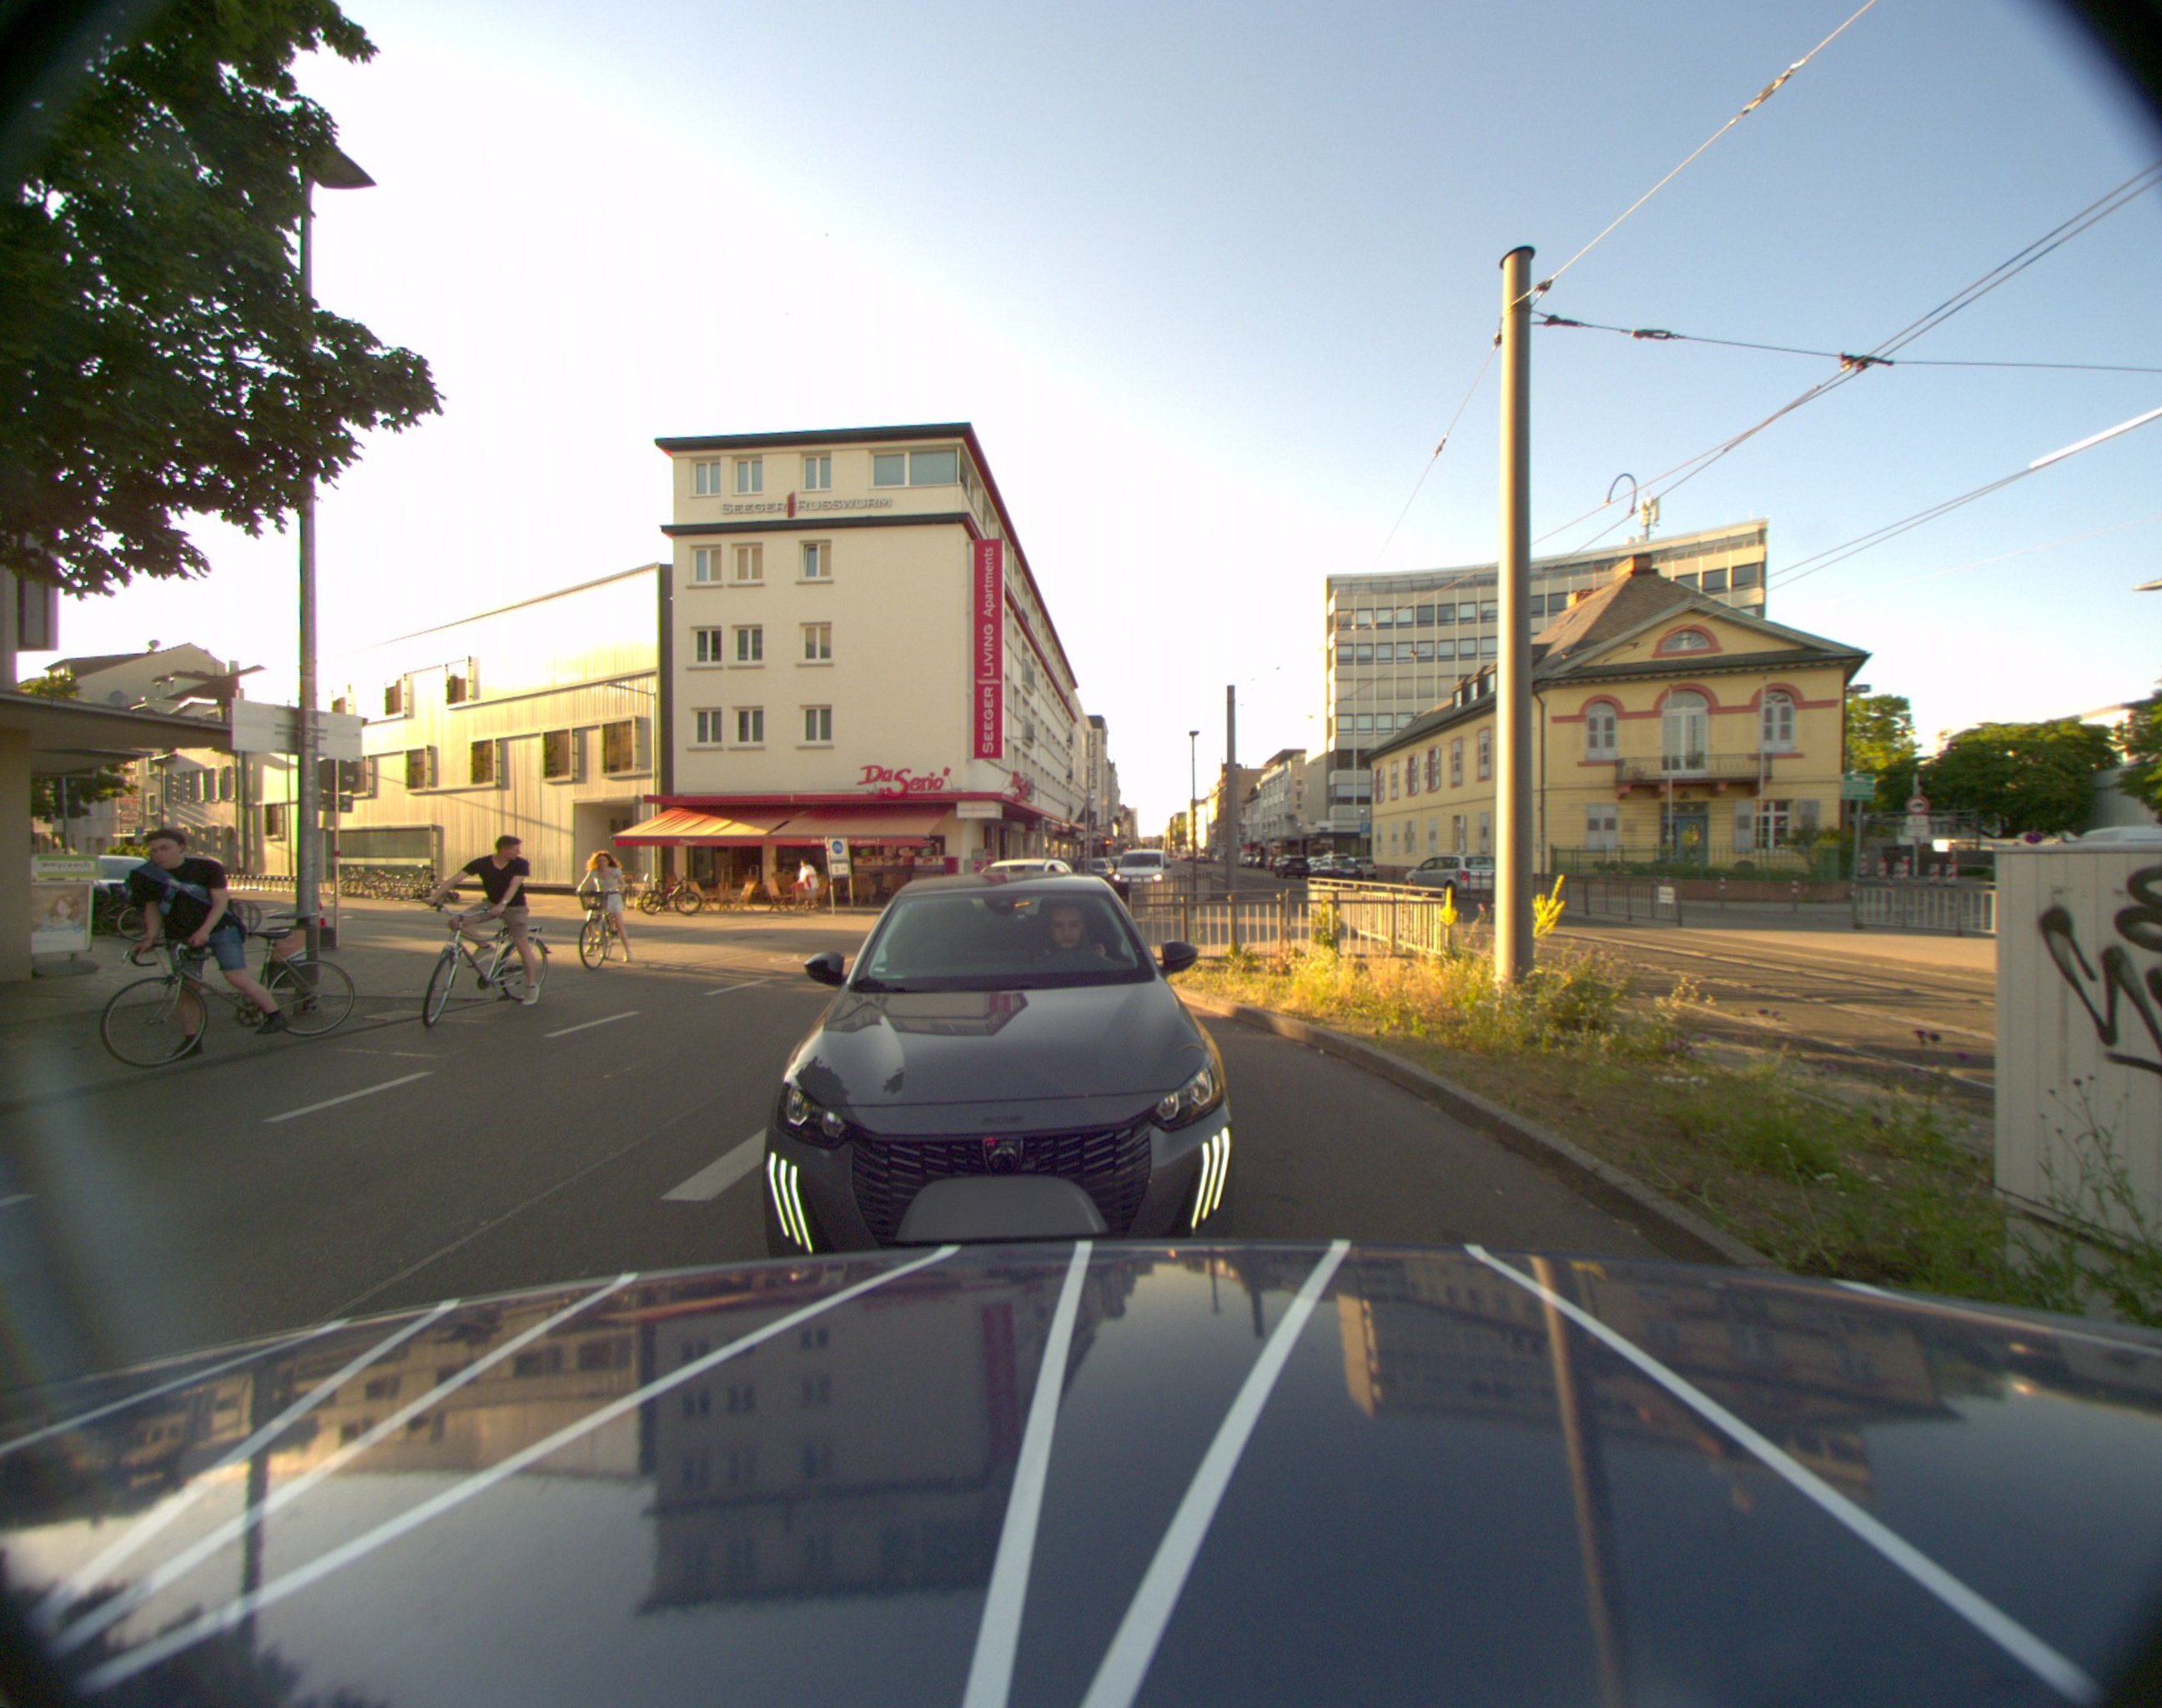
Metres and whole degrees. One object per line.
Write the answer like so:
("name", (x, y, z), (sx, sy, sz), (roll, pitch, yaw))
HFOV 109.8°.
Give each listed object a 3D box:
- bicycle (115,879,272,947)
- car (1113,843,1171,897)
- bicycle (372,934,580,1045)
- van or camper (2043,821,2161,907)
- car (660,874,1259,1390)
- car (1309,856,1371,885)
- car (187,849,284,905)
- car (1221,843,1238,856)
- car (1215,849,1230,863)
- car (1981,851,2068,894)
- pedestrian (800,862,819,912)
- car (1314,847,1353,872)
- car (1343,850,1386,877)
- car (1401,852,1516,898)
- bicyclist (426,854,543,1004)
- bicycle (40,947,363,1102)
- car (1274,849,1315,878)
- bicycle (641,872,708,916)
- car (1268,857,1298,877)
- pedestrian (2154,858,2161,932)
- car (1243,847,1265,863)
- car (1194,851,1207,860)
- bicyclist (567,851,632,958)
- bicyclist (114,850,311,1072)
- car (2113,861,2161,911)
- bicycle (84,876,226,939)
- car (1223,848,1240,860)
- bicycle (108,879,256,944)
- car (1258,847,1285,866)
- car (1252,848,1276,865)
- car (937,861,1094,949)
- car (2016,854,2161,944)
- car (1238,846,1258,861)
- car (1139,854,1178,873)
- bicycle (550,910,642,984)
("bicycle", (-16.388, 1.056, 14.098), (0.553, 1.179, 1.784), (0, -2, 22))
("car", (2.350, 0.537, 28.428), (1.998, 1.827, 4.878), (0, 0, 6))
("bicycle", (-6.137, 1.335, 7.860), (0.614, 0.820, 1.806), (0, 0, 4))
("van or camper", (36.888, 0.336, 27.014), (2.077, 2.758, 6.464), (1, 1, 41))
("car", (-0.484, 0.949, 4.810), (1.916, 1.495, 4.700), (0, 0, -3))
("car", (13.487, 0.809, 39.869), (2.017, 1.420, 4.657), (0, 0, 5))
("car", (-32.635, 0.812, 29.317), (3.988, 2.002, 2.004), (0, 1, 35))
("car", (25.206, -0.788, 129.056), (1.998, 2.002, 4.000), (-2, 1, 1))
("car", (25.468, 0.343, 136.957), (1.998, 2.363, 4.000), (0, 1, 2))
("car", (43.102, 0.775, 34.798), (1.713, 1.838, 4.031), (1, 1, 40))
("pedestrian", (-8.024, 0.963, 22.428), (0.509, 1.441, 0.506), (0, 1, -22))
("car", (18.368, 0.366, 55.428), (1.736, 1.698, 3.806), (0, 1, 4))
("car", (18.531, 0.604, 49.806), (1.736, 1.698, 3.440), (0, 0, 4))
("car", (13.987, 0.737, 28.445), (1.840, 1.589, 4.068), (0, 0, -10))
("bicyclist", (-6.141, 0.742, 7.861), (0.613, 1.478, 0.718), (0, 1, 3))
("bicycle", (-7.125, 1.333, 6.312), (0.675, 0.896, 1.690), (0, 0, 2))
("car", (15.192, 0.635, 54.320), (1.998, 1.979, 4.120), (0, 0, 3))
("bicycle", (-11.565, 1.129, 21.632), (1.632, 1.160, 0.600), (0, 3, 10))
("car", (20.005, 1.240, 75.341), (1.998, 1.890, 4.000), (0, 0, 2))
("pedestrian", (21.962, 0.825, 14.781), (1.041, 1.494, 1.007), (1, 1, 42))
("car", (21.973, 0.106, 96.648), (1.998, 1.936, 4.000), (0, 0, 2))
("car", (21.937, 0.251, 139.894), (1.848, 1.499, 4.000), (0, 0, 1))
("bicyclist", (-6.915, 0.700, 10.937), (0.589, 1.478, 0.717), (0, 1, -15))
("bicyclist", (-7.126, 0.826, 6.281), (0.665, 1.717, 0.810), (0, 1, 2))
("car", (32.878, 0.957, 22.443), (1.729, 1.421, 4.483), (1, 1, 39))
("bicycle", (-18.408, 1.034, 15.155), (0.484, 1.179, 1.690), (0, -2, 22))
("car", (24.454, -0.080, 123.655), (1.998, 1.936, 4.000), (0, 0, 2))
("bicycle", (-17.296, 1.079, 14.675), (0.538, 1.179, 1.721), (0, -2, 22))
("car", (20.173, 0.278, 80.640), (1.998, 1.936, 4.000), (0, 0, 2))
("car", (21.653, 0.299, 90.228), (1.998, 1.936, 4.000), (0, 0, 2))
("car", (-1.128, 0.900, 15.508), (1.813, 1.440, 4.568), (0, 0, 14))
("car", (18.005, 0.710, 11.578), (1.916, 1.402, 4.332), (0, 0, -13))
("car", (22.796, -0.055, 103.991), (1.998, 1.936, 4.000), (0, 0, 2))
("car", (6.595, 0.765, 64.024), (1.995, 1.565, 4.310), (0, 0, 24))
("bicycle", (-6.902, 1.290, 10.898), (0.600, 0.820, 1.737), (0, 1, -15))
